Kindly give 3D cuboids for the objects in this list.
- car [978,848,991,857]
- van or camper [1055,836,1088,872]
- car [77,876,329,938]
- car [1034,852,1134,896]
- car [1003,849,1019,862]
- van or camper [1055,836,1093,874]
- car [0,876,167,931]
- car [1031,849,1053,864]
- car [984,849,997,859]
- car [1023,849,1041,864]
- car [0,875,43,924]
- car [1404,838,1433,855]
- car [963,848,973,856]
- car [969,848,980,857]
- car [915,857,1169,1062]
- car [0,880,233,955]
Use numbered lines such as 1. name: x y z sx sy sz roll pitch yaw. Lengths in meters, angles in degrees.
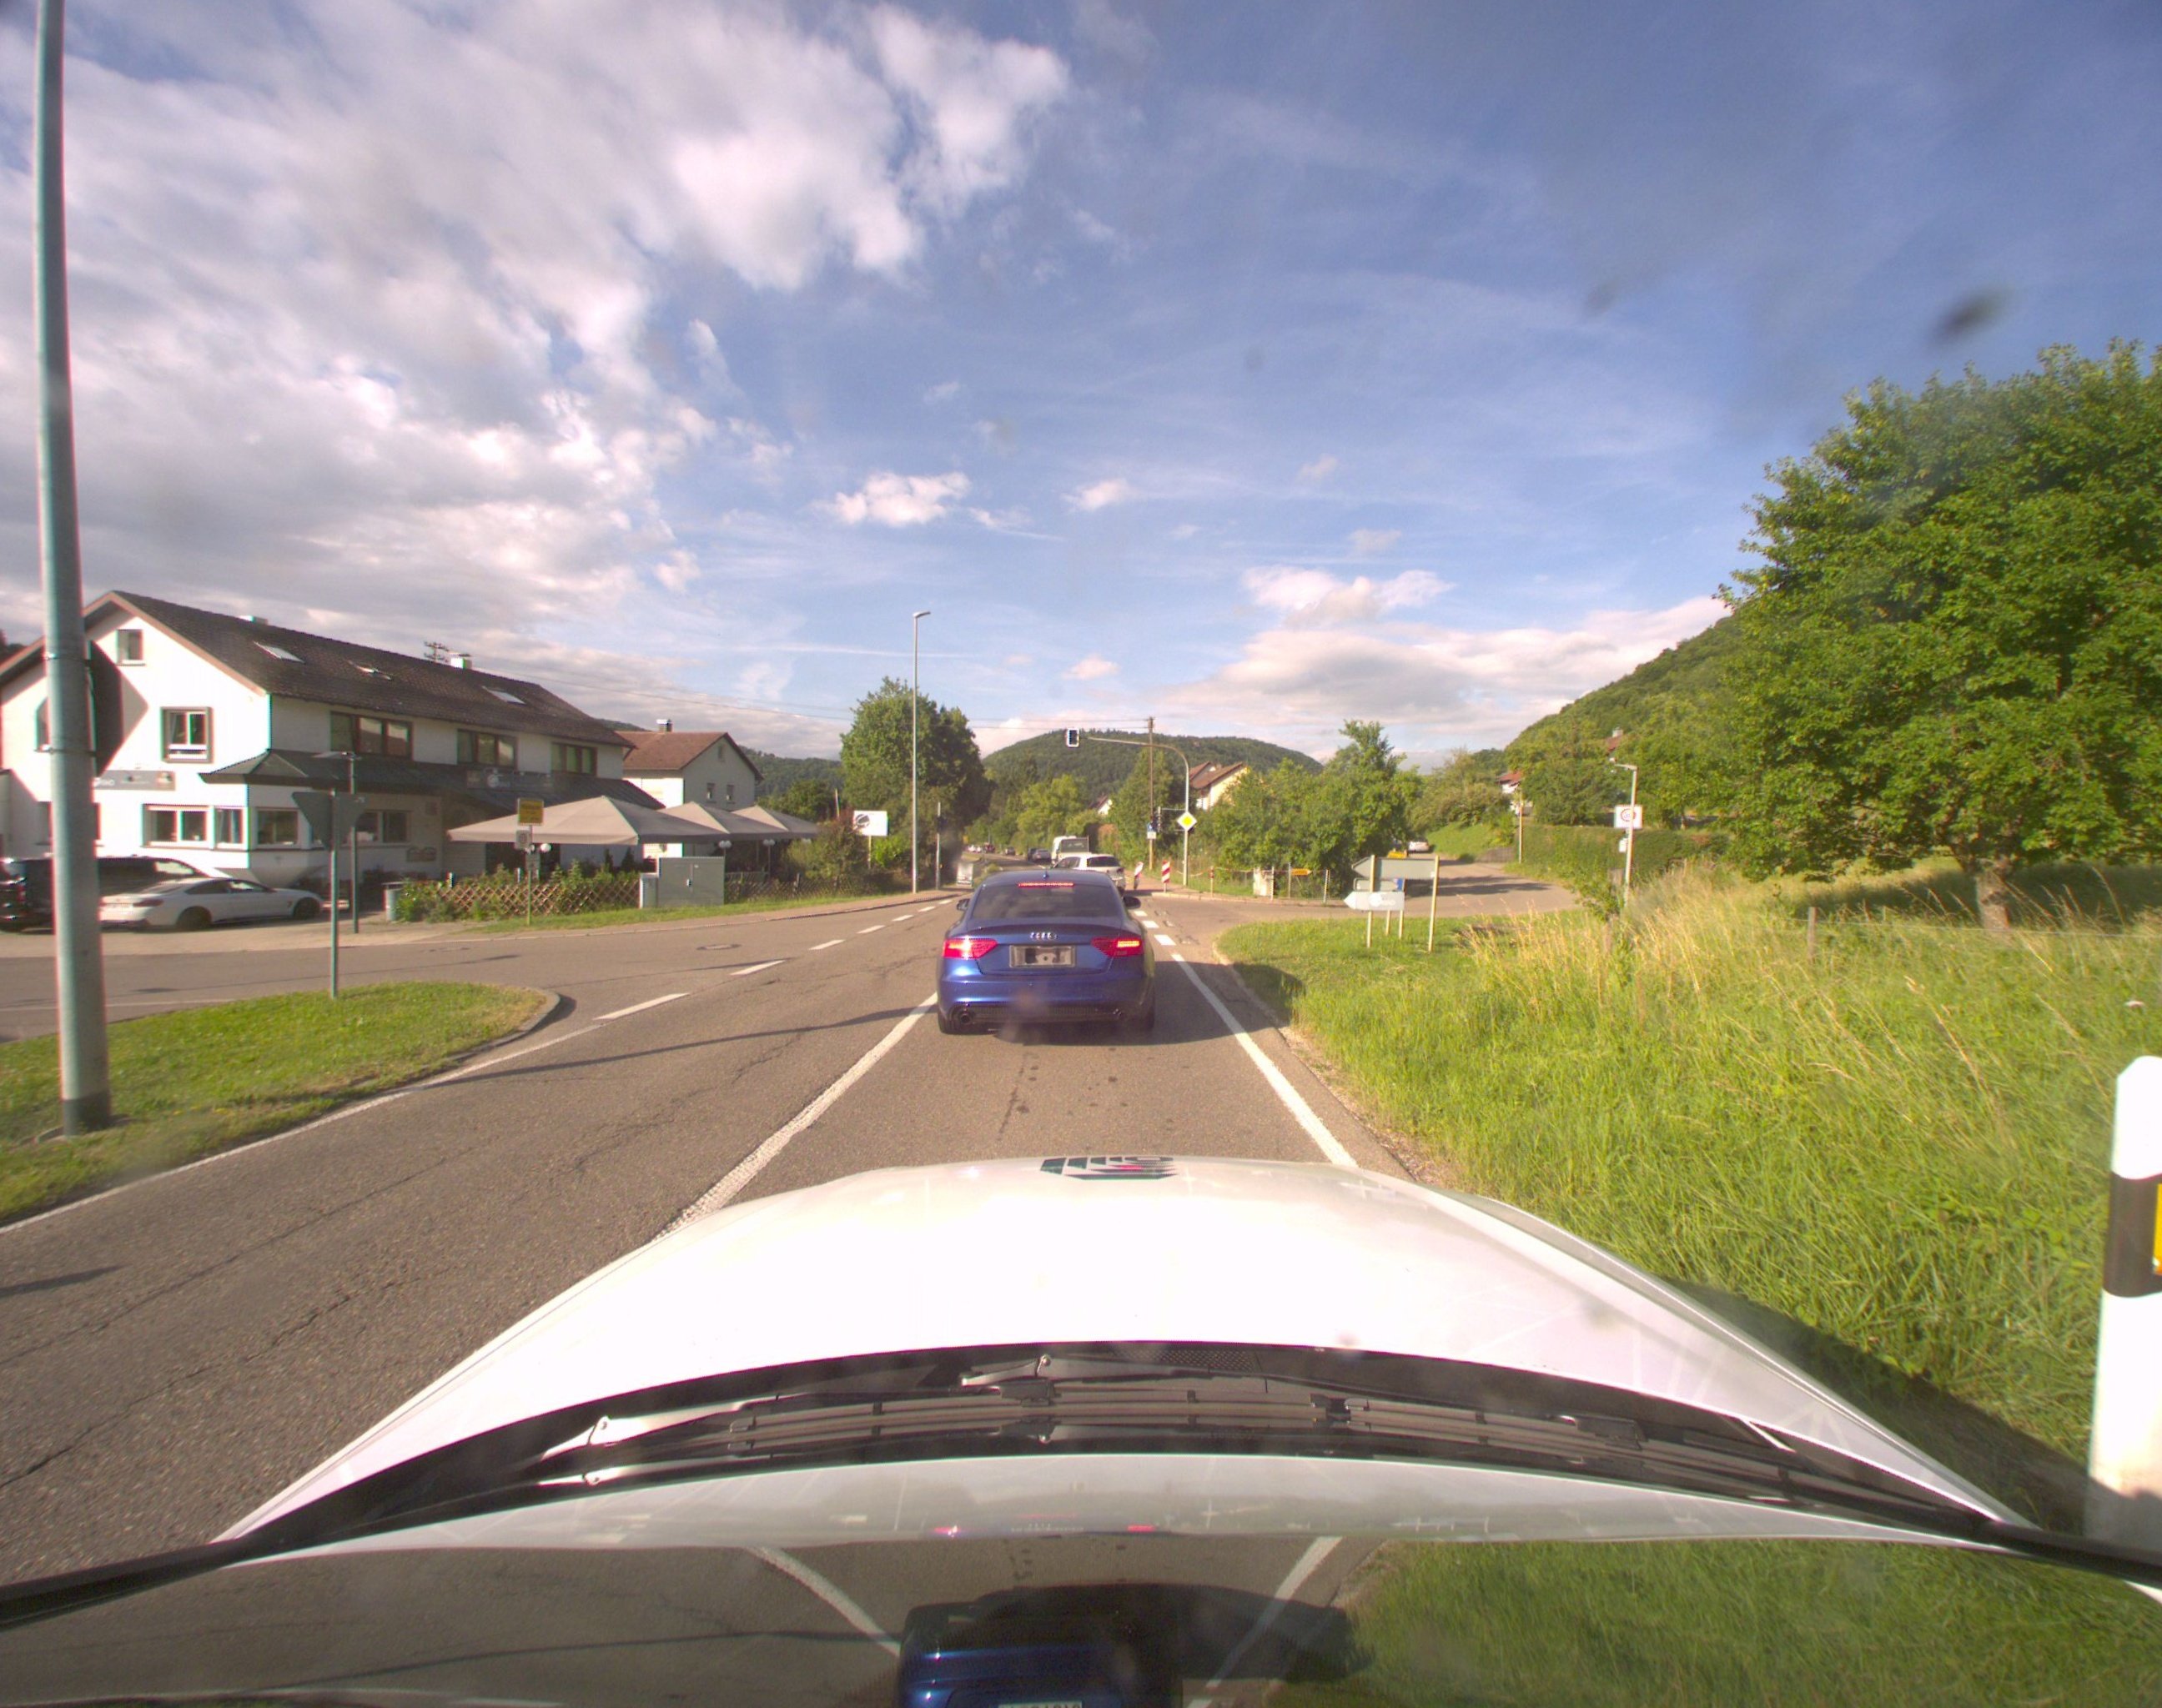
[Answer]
1. car: -18.807 -0.303 158.715 1.945 1.684 3.982 -2 0 -13
2. van or camper: -0.841 -0.014 69.545 2.411 2.904 6.122 -1 1 -4
3. car: -24.656 1.415 23.195 1.984 1.389 4.582 -2 0 4
4. car: 0.031 0.670 29.113 1.782 1.415 4.135 1 0 -29
5. car: -10.966 0.222 127.203 1.995 2.013 3.983 -2 0 -12
6. van or camper: -0.522 0.054 54.932 2.176 2.385 5.361 -1 1 -4
7. car: -30.424 1.432 23.826 1.984 1.389 4.582 -2 0 4
8. car: -4.351 0.287 90.105 1.820 1.552 3.986 -2 0 -11
9. car: -16.703 0.024 150.119 2.043 1.684 3.982 -1 1 -13
10. car: -6.154 0.310 101.537 1.796 1.794 3.987 -2 0 -10
11. car: -33.199 1.412 22.877 1.984 1.412 4.582 -2 0 4
12. car: 29.603 -0.627 71.522 1.978 1.464 4.018 -1 -1 17
13. car: -25.065 -0.406 180.034 1.774 1.783 3.981 -2 0 -14
14. car: -21.852 -0.289 167.363 1.751 1.783 3.981 -2 0 -14
15. car: -0.279 0.778 8.091 1.824 1.409 4.226 -2 0 0
16. car: -27.347 1.702 22.883 1.984 1.685 4.582 -2 0 4
